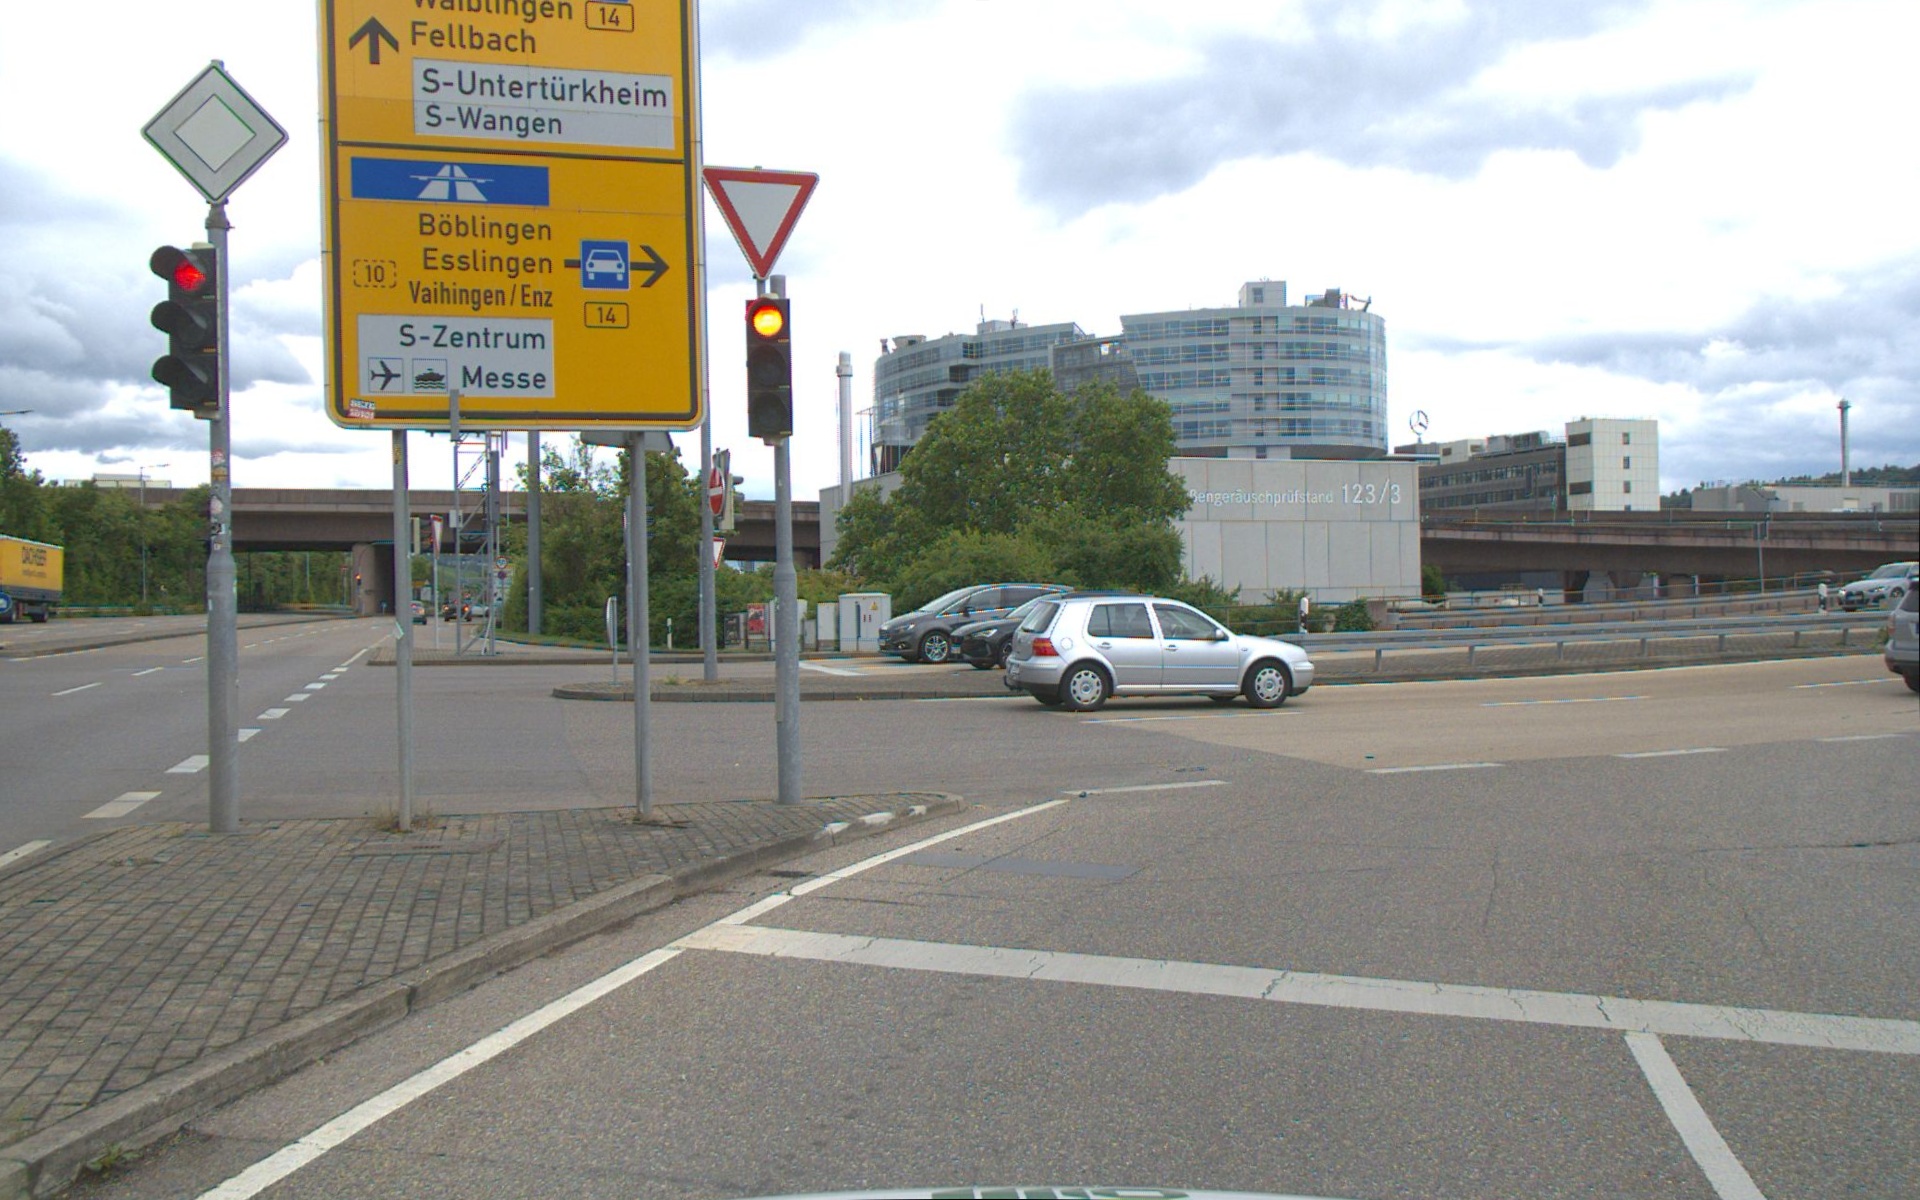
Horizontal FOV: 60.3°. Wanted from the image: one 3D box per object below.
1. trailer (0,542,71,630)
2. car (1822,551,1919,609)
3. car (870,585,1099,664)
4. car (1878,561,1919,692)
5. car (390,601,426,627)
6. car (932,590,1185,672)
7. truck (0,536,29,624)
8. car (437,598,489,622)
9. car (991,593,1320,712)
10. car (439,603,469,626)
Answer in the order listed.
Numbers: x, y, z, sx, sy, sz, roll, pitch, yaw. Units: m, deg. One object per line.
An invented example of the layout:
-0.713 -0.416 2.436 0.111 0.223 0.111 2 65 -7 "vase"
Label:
-47.966 -0.780 83.397 2.824 4.155 11.380 2 0 -15 "trailer"
31.087 -0.633 54.809 4.668 1.691 1.902 3 0 -23 "car"
0.516 0.495 35.883 4.608 1.599 1.945 0 1 -20 "car"
15.012 0.329 22.860 4.480 1.767 1.718 -1 1 -23 "car"
-33.144 0.869 99.385 1.962 1.467 4.089 1 -2 -18 "car"
1.908 0.561 32.132 4.541 1.482 1.943 0 1 -22 "car"
-46.540 -0.991 78.083 2.824 4.155 6.461 2 0 -15 "truck"
-43.644 0.859 145.300 3.955 1.892 1.975 3 0 -36 "car"
2.539 0.652 21.826 3.982 1.425 1.725 -1 1 -12 "car"
-35.682 1.034 116.618 1.962 1.490 4.090 1 -2 -17 "car"
